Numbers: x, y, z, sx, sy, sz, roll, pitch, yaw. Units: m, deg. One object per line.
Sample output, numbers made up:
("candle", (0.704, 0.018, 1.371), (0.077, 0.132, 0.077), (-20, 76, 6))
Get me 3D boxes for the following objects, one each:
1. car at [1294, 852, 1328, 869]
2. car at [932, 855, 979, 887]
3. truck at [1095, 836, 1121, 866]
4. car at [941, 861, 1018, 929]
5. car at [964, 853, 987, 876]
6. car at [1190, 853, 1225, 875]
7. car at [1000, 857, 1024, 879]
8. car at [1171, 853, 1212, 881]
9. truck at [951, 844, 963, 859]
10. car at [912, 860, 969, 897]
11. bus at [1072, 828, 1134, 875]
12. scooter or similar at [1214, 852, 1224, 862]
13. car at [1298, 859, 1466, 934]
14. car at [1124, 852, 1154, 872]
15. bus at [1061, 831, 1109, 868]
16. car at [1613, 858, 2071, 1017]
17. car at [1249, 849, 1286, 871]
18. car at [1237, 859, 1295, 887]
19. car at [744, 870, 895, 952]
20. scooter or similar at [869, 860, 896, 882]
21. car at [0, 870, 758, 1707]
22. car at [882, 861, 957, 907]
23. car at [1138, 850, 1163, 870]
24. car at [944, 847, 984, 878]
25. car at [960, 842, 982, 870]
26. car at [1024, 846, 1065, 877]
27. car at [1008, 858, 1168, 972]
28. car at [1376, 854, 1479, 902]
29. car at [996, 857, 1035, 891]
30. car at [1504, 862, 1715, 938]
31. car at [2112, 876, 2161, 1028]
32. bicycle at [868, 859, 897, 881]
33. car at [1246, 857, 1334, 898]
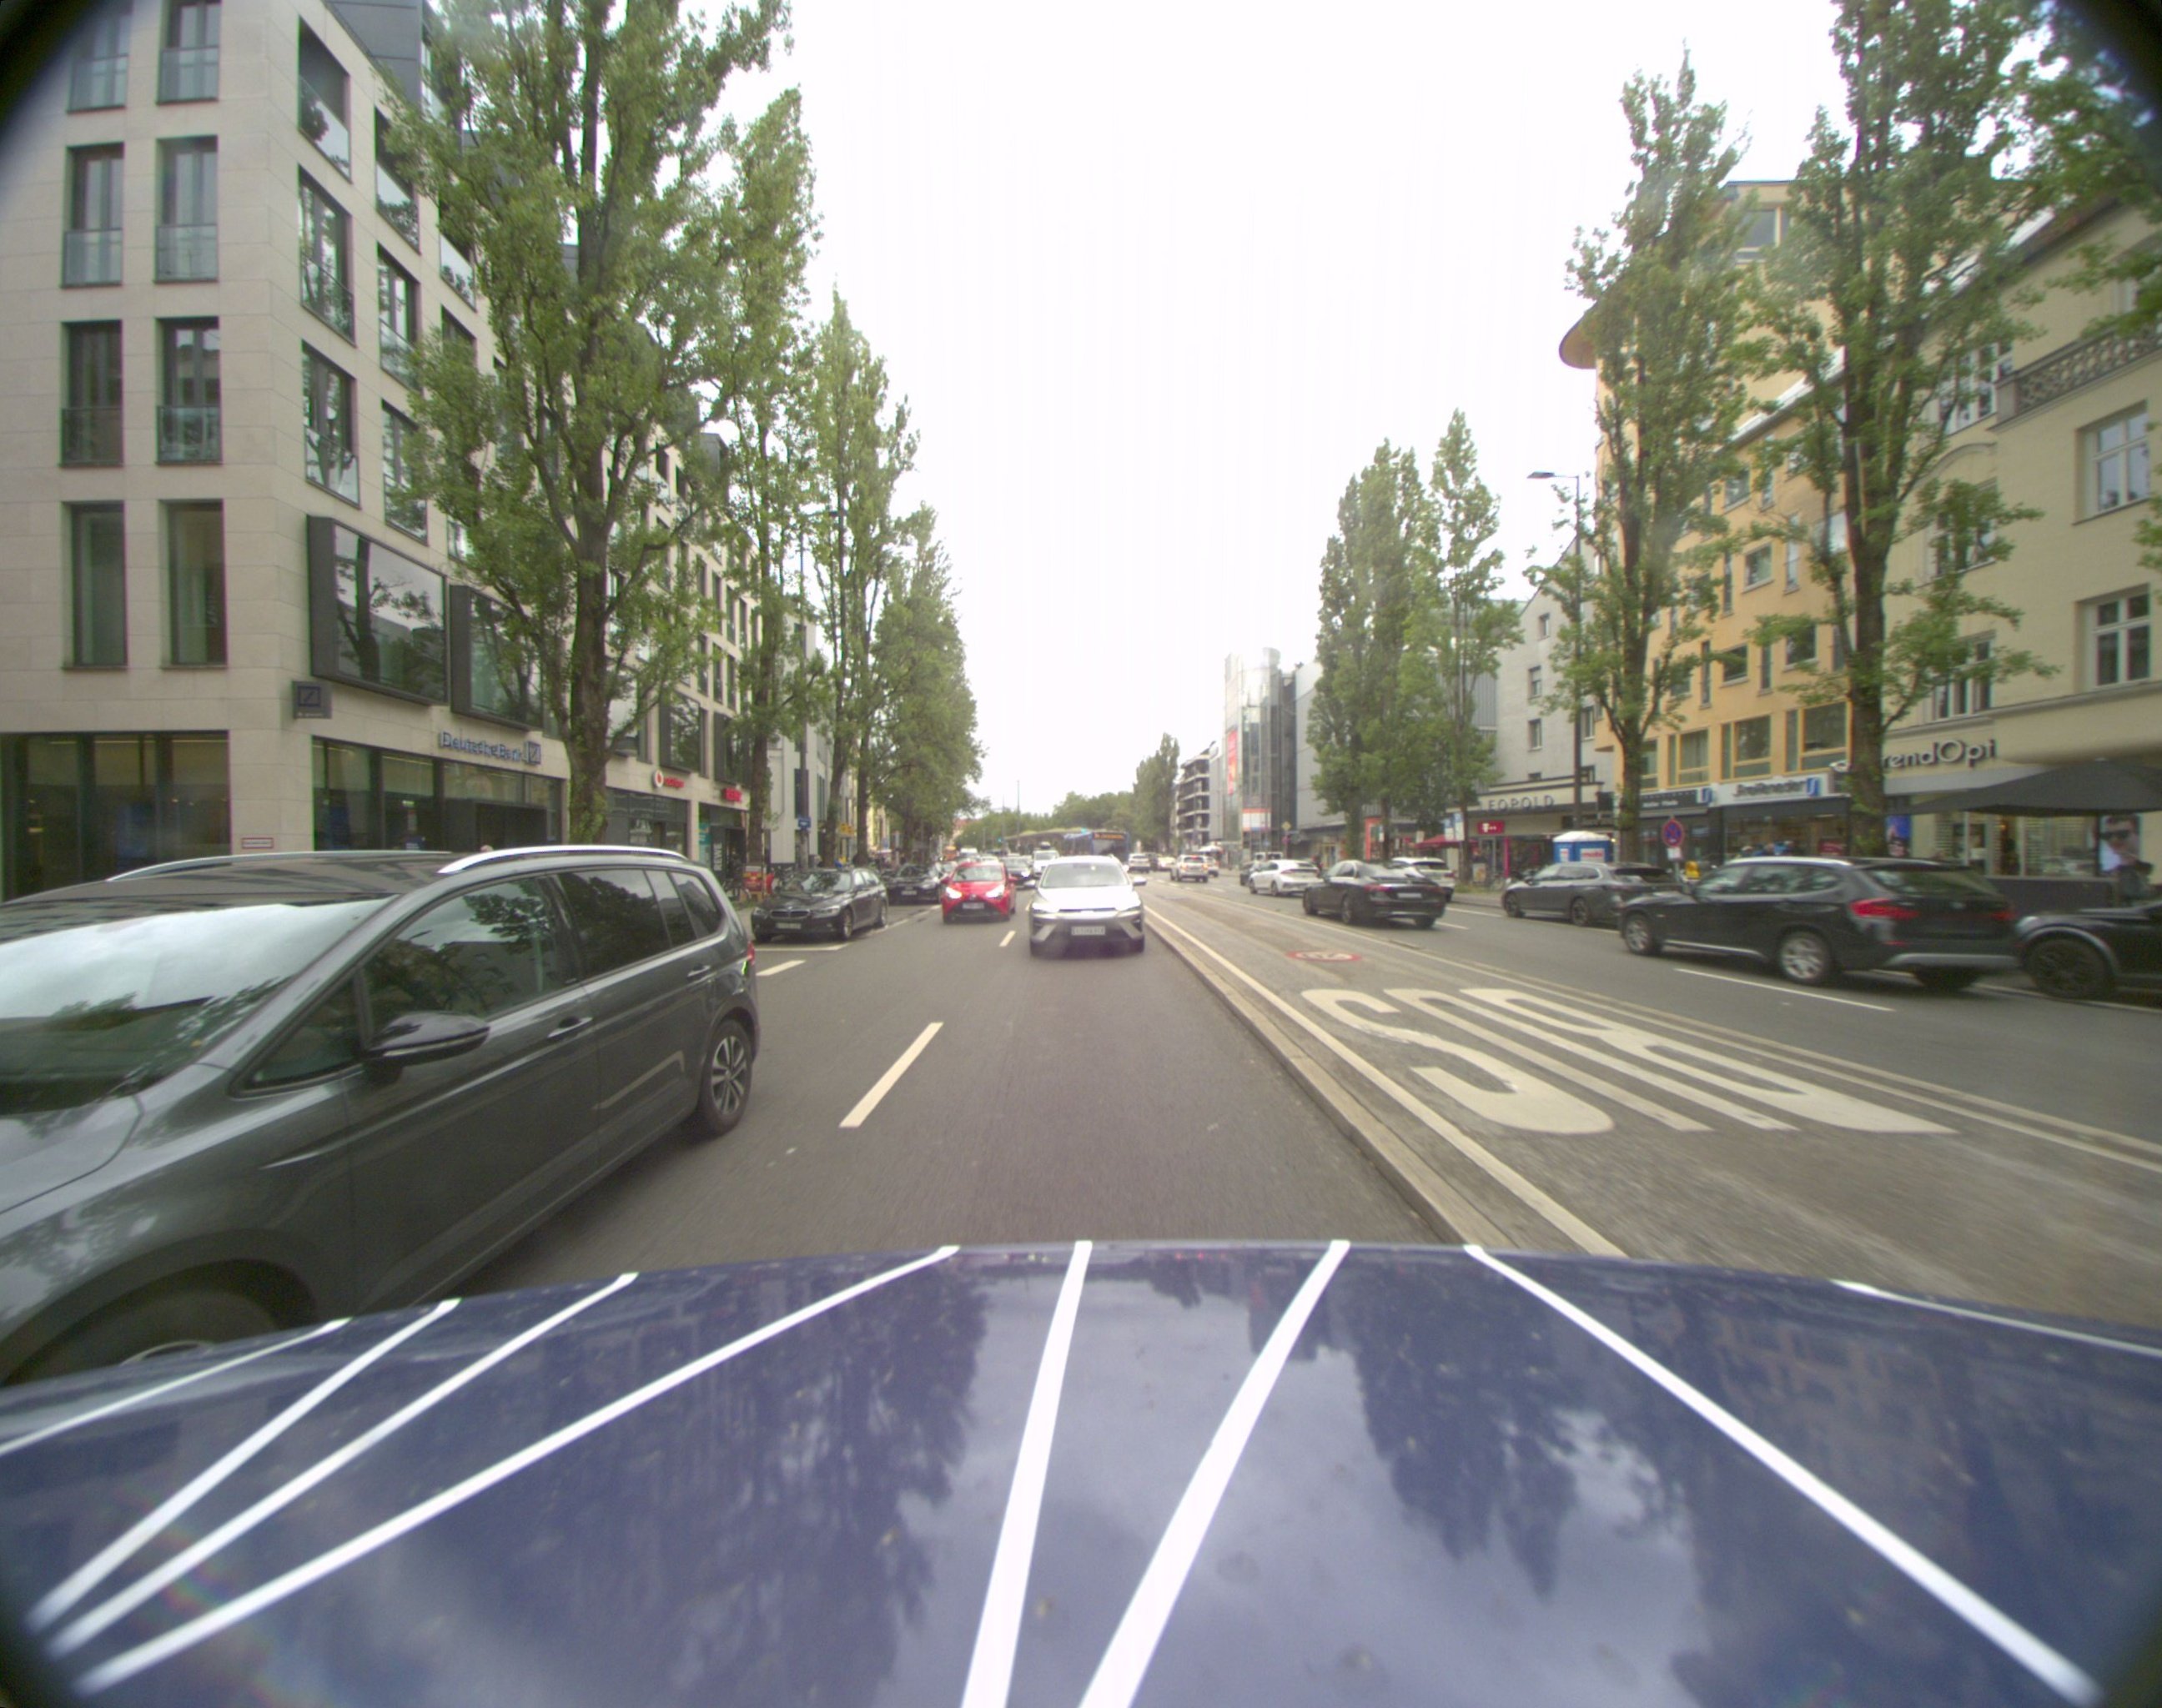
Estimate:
("car", (20.360, 0.574, 67.361), (1.926, 1.430, 4.508), (0, 0, 4))
("car", (-6.218, 0.813, 38.182), (1.815, 1.491, 4.804), (0, 0, -3))
("truck", (3.049, -0.355, 87.140), (2.297, 3.303, 7.154), (1, 0, -3))
("car", (-2.526, 0.977, 19.558), (1.670, 1.438, 3.594), (-2, 1, -4))
("car", (-8.446, 0.808, 60.968), (1.733, 1.676, 4.404), (-1, 0, -8))
("car", (9.870, 0.764, 59.593), (1.998, 1.641, 4.636), (1, 0, 1))
("car", (-6.064, 1.173, 66.335), (2.000, 1.740, 3.997), (-2, 1, -6))
("car", (6.820, 0.780, 47.357), (1.944, 1.632, 4.463), (0, 0, 0))
("truck", (-29.706, -0.554, 181.905), (2.543, 3.468, 7.743), (0, 0, -12))
("car", (-5.990, 1.003, 32.839), (1.936, 1.441, 4.801), (0, 0, -5))
("bus", (1.345, -0.251, 53.618), (2.943, 2.927, 11.206), (-1, 1, -6))
("scooter or similar", (16.582, 0.375, 91.628), (0.368, 1.133, 1.378), (0, 0, -31))
("car", (6.699, 0.863, 17.572), (1.998, 1.423, 4.772), (1, 0, 1))
("car", (5.108, 0.670, 67.249), (1.866, 1.701, 4.533), (1, 0, -5))
("bus", (0.199, -0.435, 65.469), (2.943, 2.927, 11.206), (-1, 1, -6))
("car", (9.443, 0.890, 10.073), (1.853, 1.555, 4.211), (0, 1, 1))
("car", (17.471, 0.548, 71.471), (1.999, 2.002, 5.111), (0, 0, -2))
("car", (9.926, 0.986, 41.146), (1.944, 1.426, 4.537), (0, 0, -1))
("car", (-5.335, 1.093, 16.153), (1.738, 1.386, 4.432), (0, 0, -1))
("scooter or similar", (-10.916, 0.943, 41.799), (1.439, 1.194, 0.311), (0, 1, -8))
("car", (-2.831, 0.931, 2.543), (1.766, 1.604, 4.182), (-1, 0, -2))
("car", (-5.647, 1.009, 27.078), (1.852, 1.420, 4.424), (0, 0, -2))
("car", (6.968, 0.597, 76.612), (1.998, 1.852, 5.711), (2, 0, 0))
("car", (-7.111, 0.485, 46.478), (1.930, 1.690, 4.647), (-2, 1, -3))
("car", (-11.607, 0.154, 80.106), (2.000, 2.726, 5.548), (-2, 1, -10))
("car", (-2.426, 0.425, 49.534), (2.000, 1.889, 4.230), (-2, 1, -12))
("car", (-0.065, 0.878, 12.892), (1.898, 1.483, 3.995), (-2, 1, -11))
("car", (12.831, 0.833, 28.453), (1.998, 1.620, 4.382), (0, 0, 2))
("car", (-3.119, 0.893, 36.328), (1.741, 1.461, 4.048), (-1, 0, -5))
("car", (12.068, 0.963, 17.768), (1.944, 1.485, 4.295), (0, 0, 0))
("car", (11.637, 0.996, 5.917), (1.809, 1.510, 4.000), (1, 0, 1))
("bicycle", (-11.050, 0.876, 42.298), (1.483, 1.200, 0.535), (0, 1, -8))
("car", (8.269, 0.905, 30.461), (1.945, 1.485, 4.293), (0, 0, -6))
